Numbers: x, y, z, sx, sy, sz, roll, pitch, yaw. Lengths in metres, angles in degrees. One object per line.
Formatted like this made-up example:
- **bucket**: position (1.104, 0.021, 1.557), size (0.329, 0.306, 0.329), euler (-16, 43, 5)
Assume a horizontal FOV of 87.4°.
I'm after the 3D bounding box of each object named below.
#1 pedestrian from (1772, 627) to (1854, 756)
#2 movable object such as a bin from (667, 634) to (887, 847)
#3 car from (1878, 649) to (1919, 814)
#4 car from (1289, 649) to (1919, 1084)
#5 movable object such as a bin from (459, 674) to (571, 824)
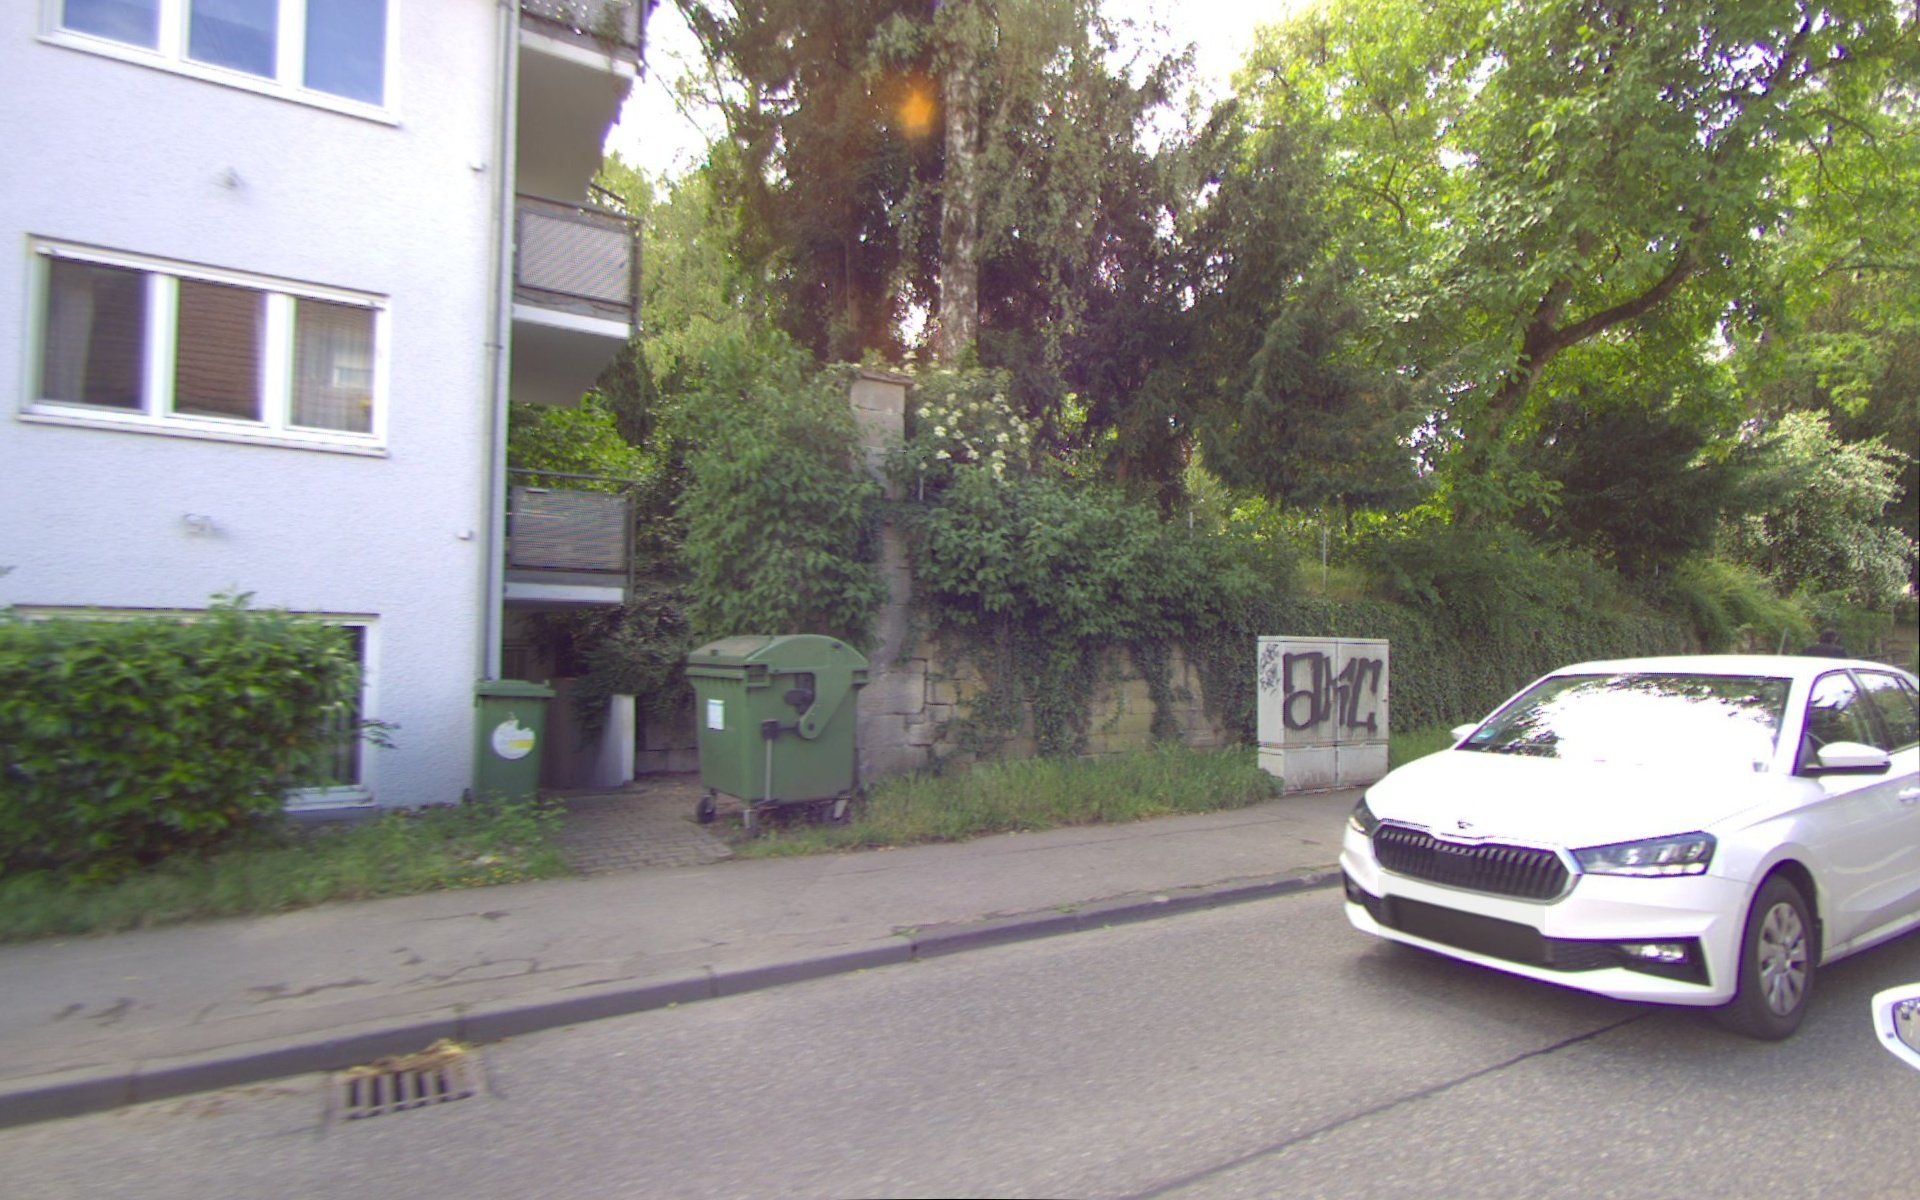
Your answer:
- **pedestrian**: position (11.668, 1.227, 13.744), size (0.923, 1.688, 0.648), euler (3, -3, -36)
- **movable object such as a bin**: position (-1.432, 1.005, 7.785), size (1.203, 1.446, 1.321), euler (3, -3, -36)
- **car**: position (11.209, 1.236, 9.985), size (4.039, 1.566, 1.919), euler (1, -5, -31)
- **car**: position (3.760, 1.003, 5.196), size (3.924, 1.458, 1.752), euler (1, -4, -31)
- **movable object such as a bin**: position (-3.528, 1.145, 7.959), size (0.705, 1.090, 0.637), euler (3, -3, -31)
